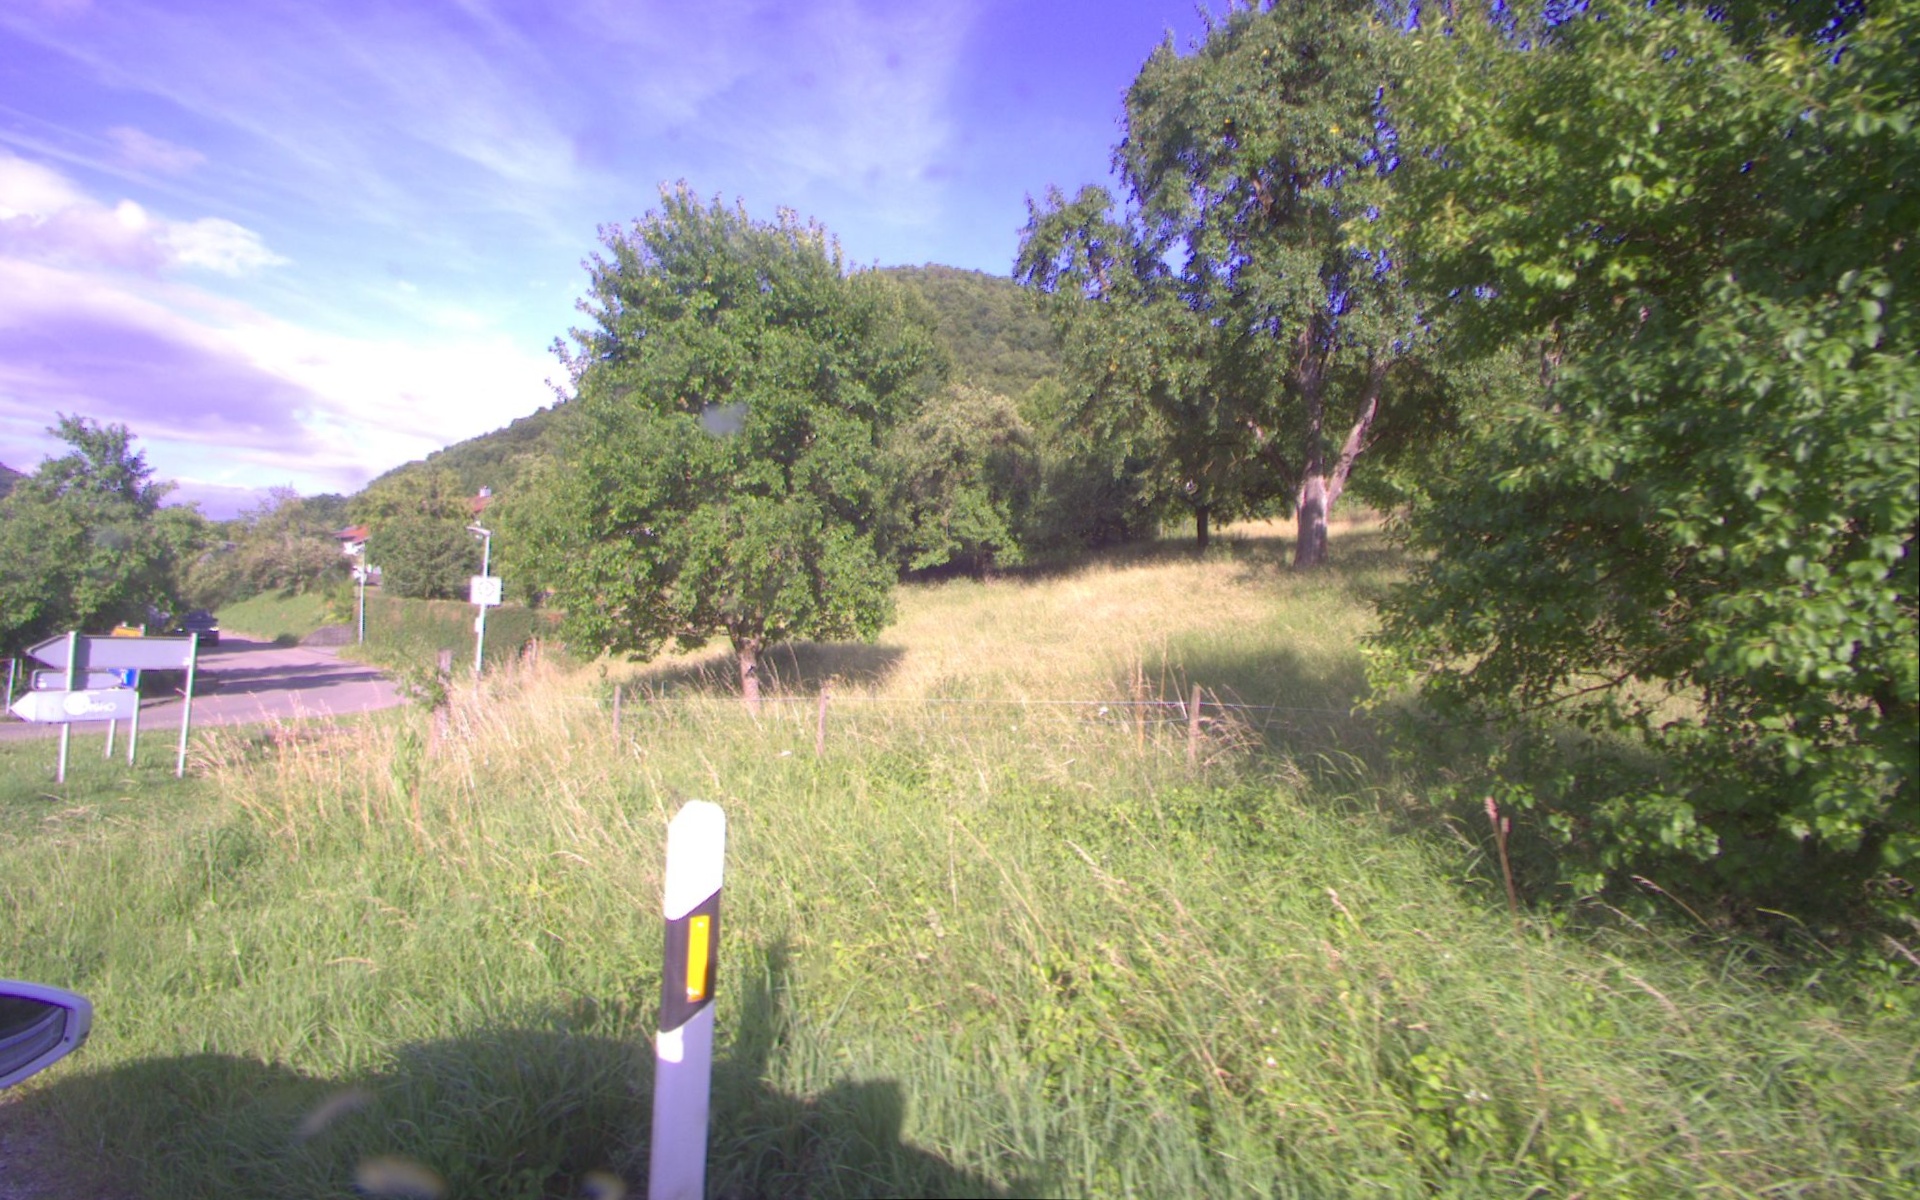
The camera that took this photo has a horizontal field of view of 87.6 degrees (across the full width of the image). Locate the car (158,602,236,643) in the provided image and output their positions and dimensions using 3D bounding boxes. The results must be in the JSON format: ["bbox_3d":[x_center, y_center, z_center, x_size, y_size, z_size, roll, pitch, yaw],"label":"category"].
[{"bbox_3d":[-38.499,1.122,50.518,4.811,1.900,1.987,0,-3,39],"label":"car"}]
